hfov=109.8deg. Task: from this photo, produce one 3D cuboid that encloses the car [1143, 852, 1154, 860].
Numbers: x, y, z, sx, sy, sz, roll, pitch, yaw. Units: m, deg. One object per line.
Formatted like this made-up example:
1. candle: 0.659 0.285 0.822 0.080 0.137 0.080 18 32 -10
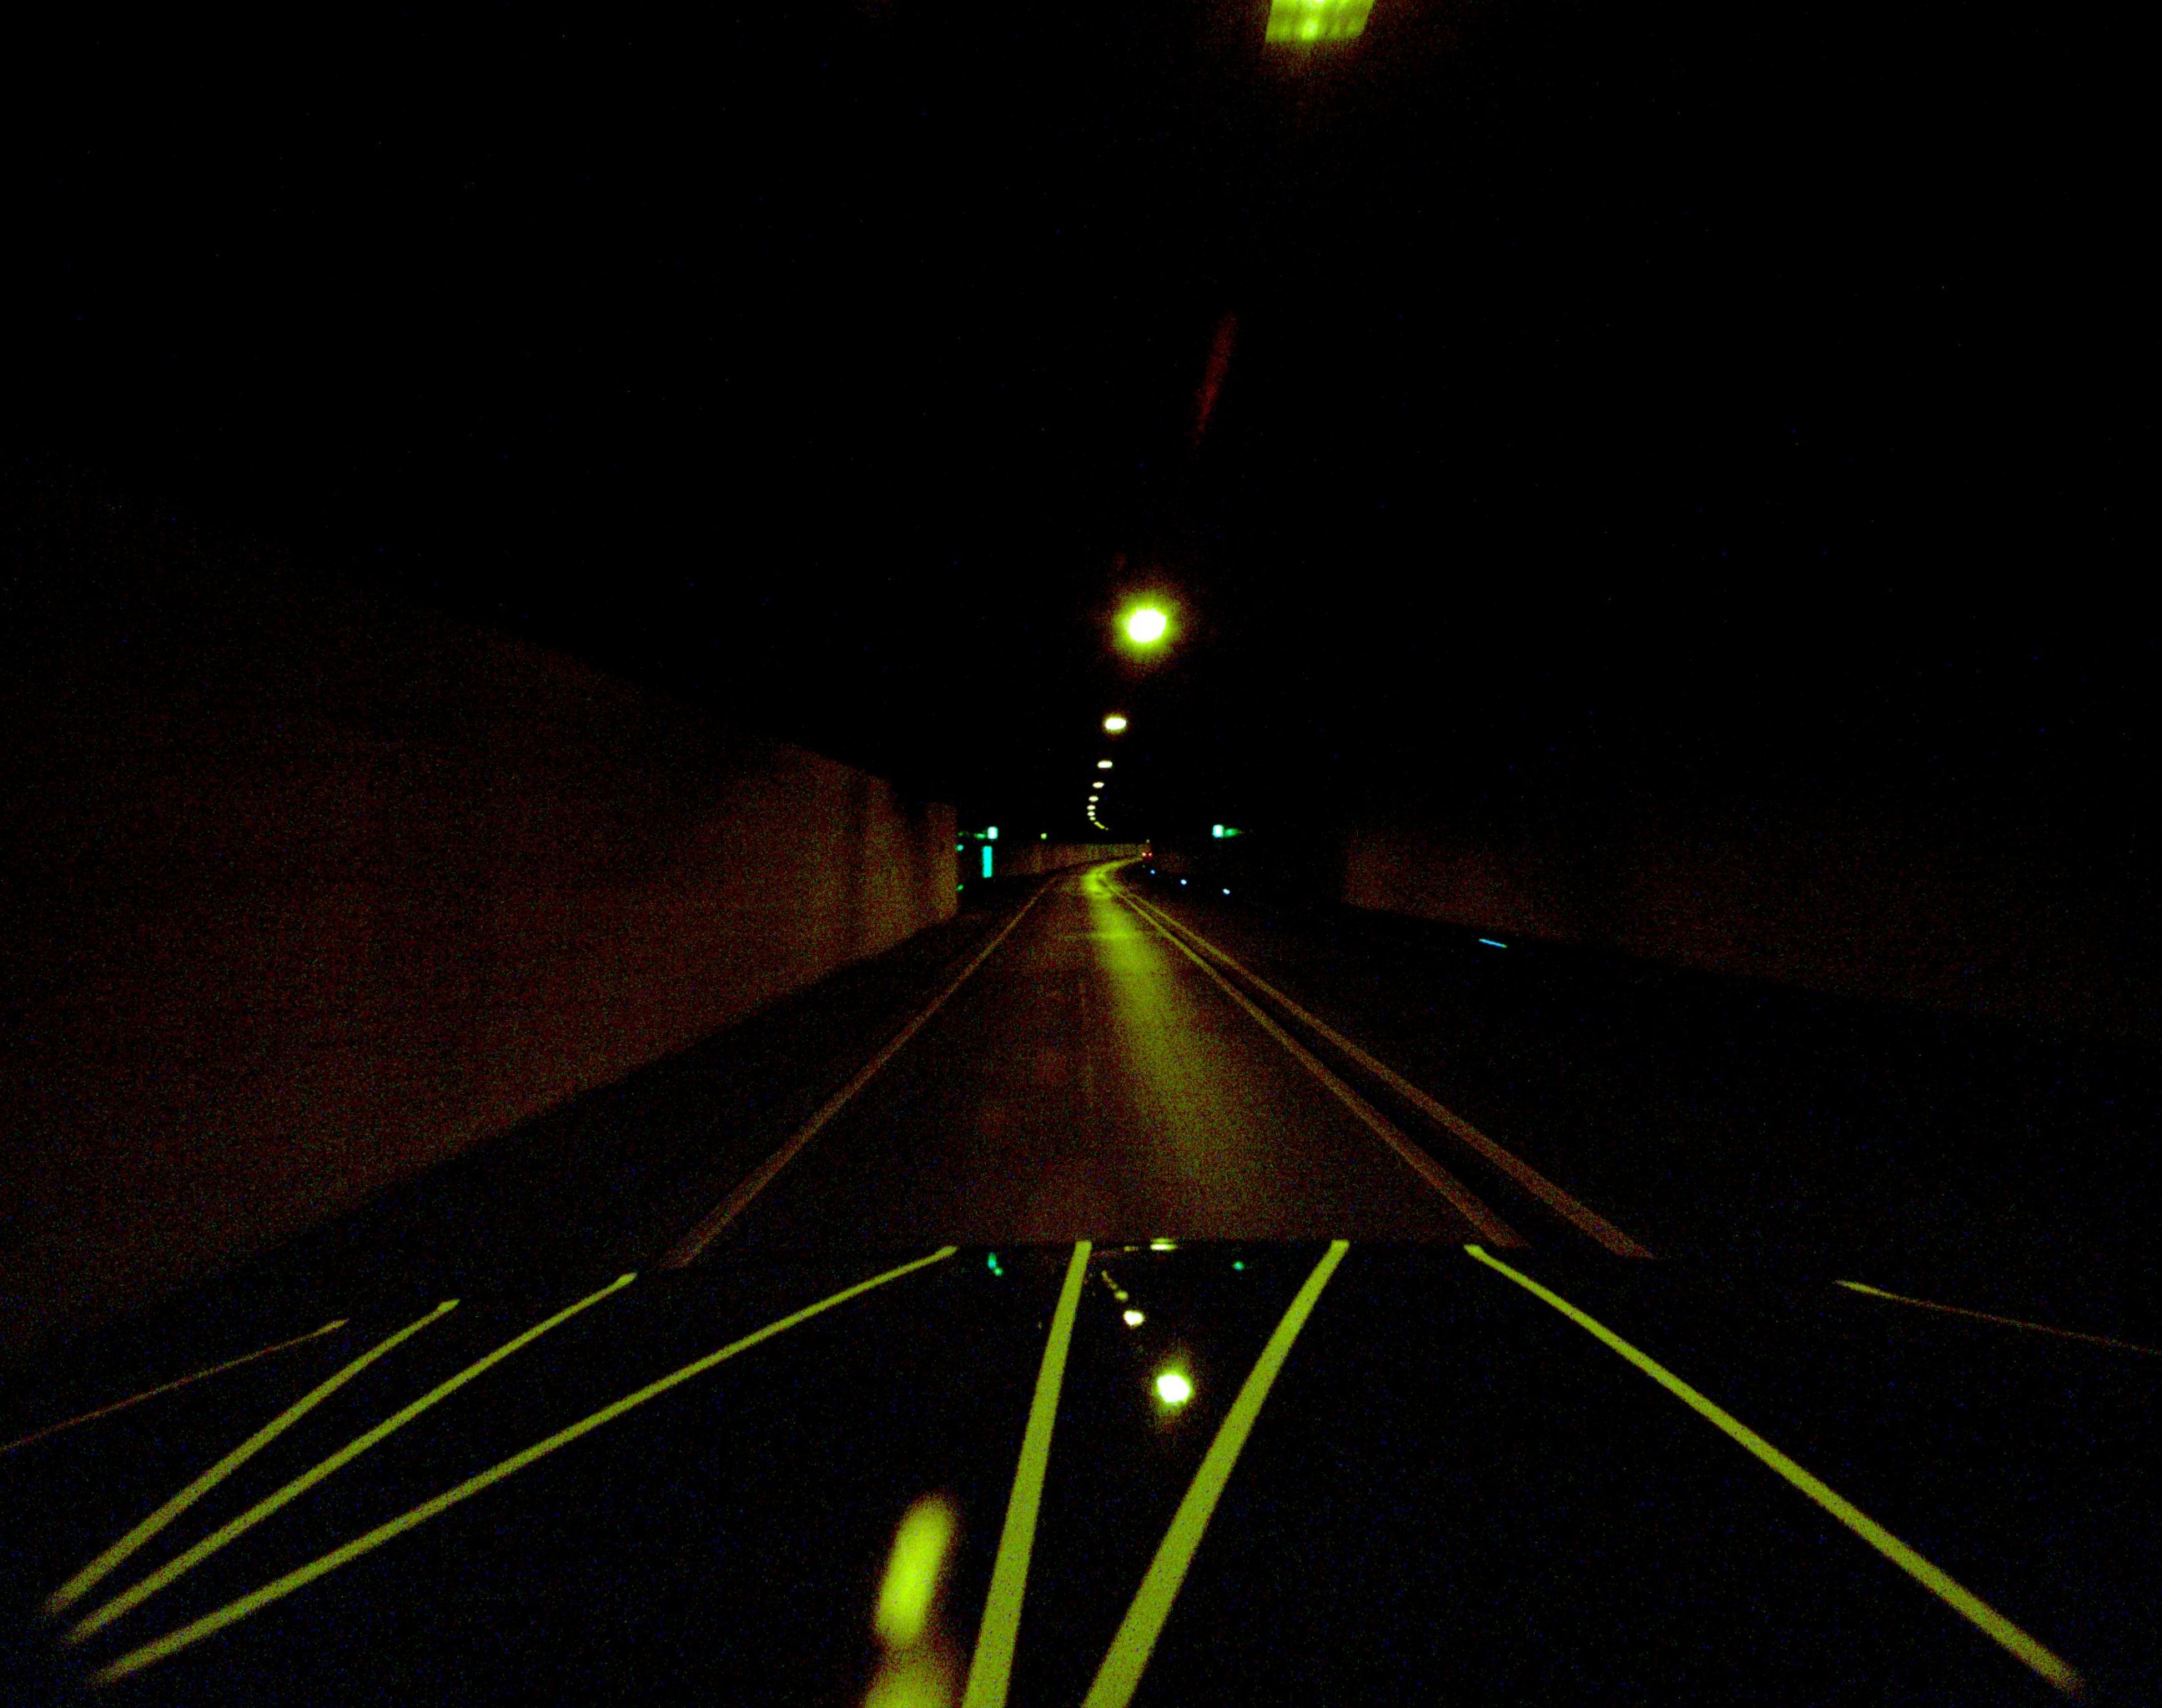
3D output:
1. car: 12.541 0.445 141.199 1.710 1.407 4.120 3 0 9
